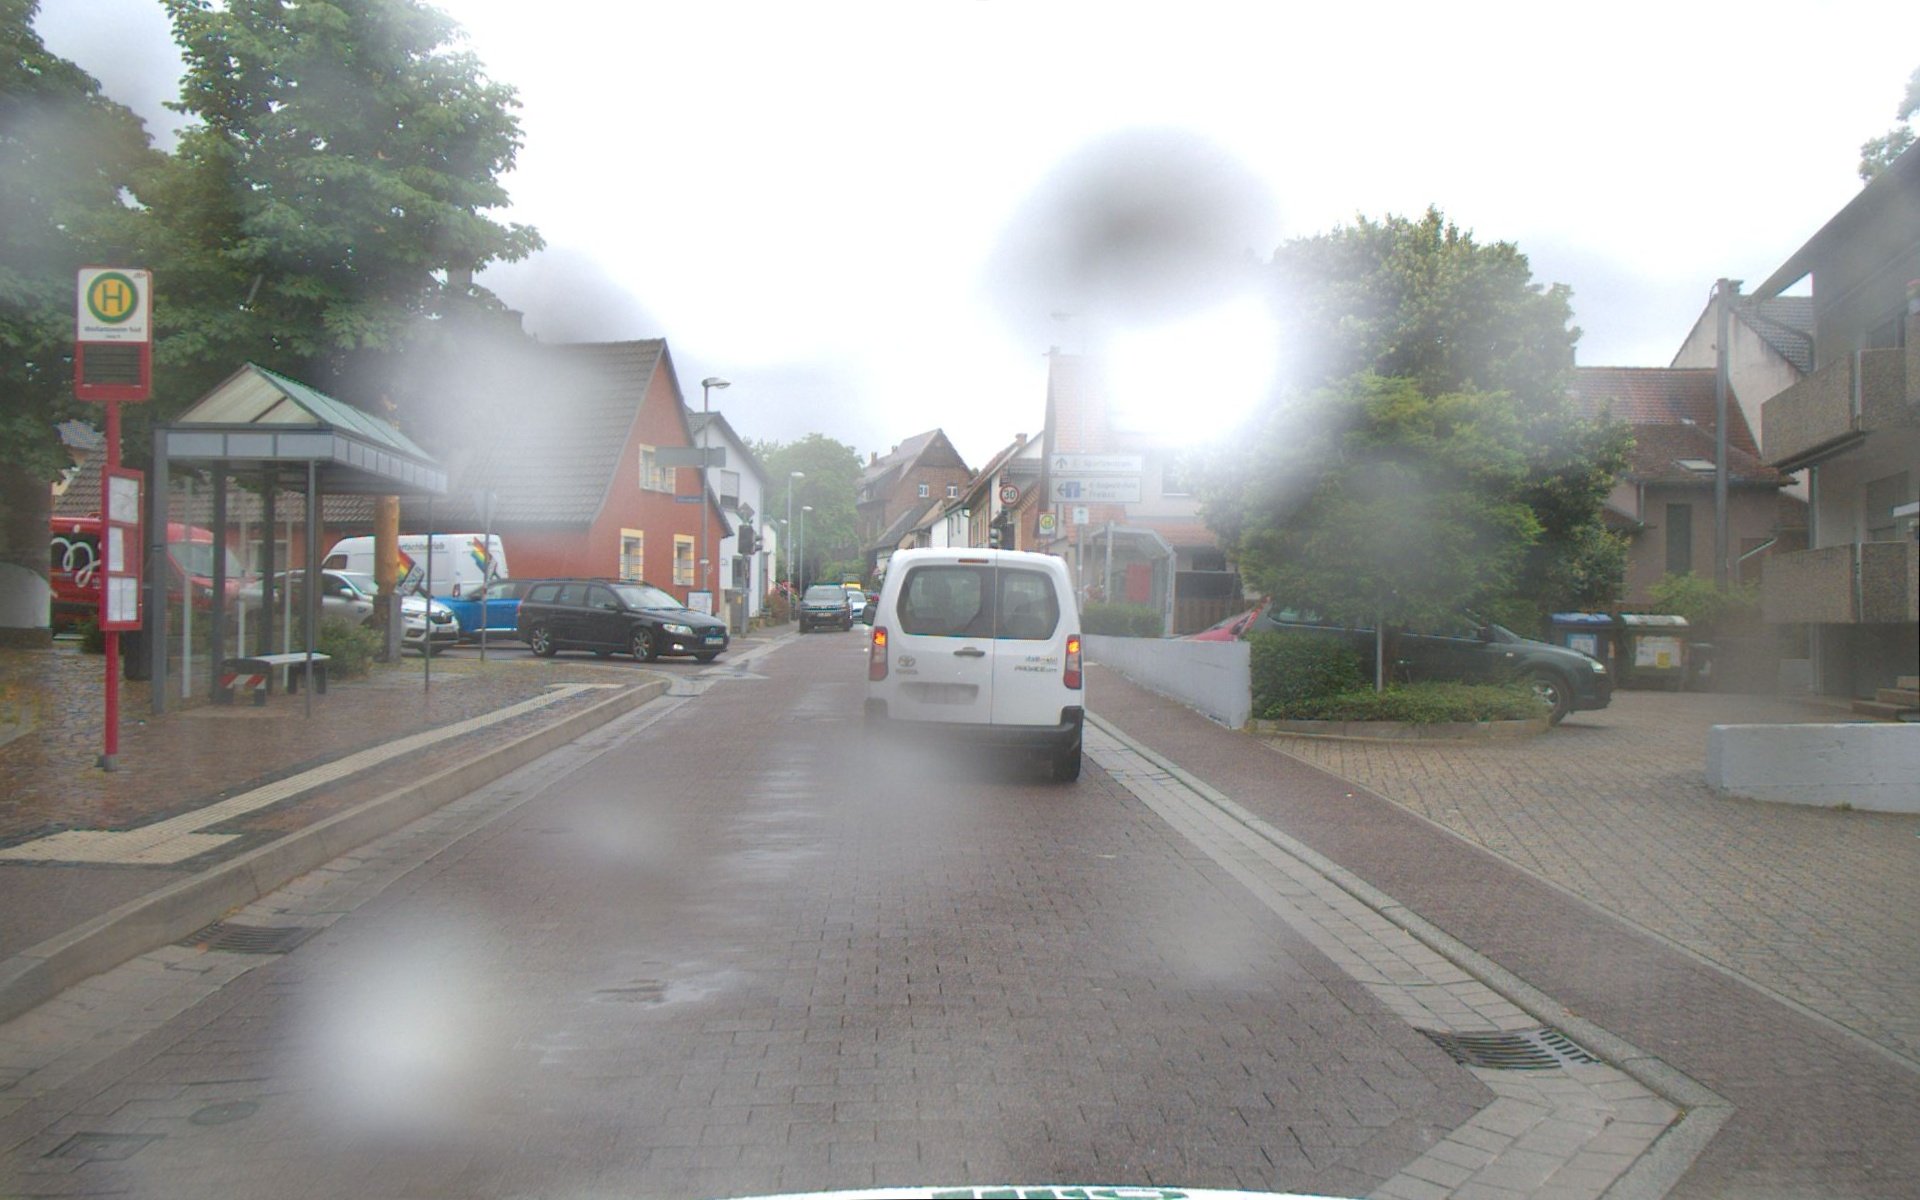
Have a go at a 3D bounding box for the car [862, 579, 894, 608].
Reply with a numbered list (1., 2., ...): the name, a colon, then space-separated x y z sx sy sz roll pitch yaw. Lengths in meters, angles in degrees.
1. car: -5.552 -0.445 112.025 1.955 1.777 3.997 2 2 -5

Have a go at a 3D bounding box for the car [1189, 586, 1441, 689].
1. car: 5.923 0.598 27.787 3.981 1.617 1.859 1 0 11

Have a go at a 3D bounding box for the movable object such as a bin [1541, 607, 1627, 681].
1. movable object such as a bin: 12.240 0.857 32.497 1.217 1.381 1.155 1 0 -1

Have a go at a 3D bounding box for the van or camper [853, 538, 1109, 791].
1. van or camper: 0.041 0.478 14.545 1.905 1.883 3.997 1 0 -4

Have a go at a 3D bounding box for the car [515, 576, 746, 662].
1. car: -6.282 0.328 31.446 4.223 1.503 1.845 0 1 33

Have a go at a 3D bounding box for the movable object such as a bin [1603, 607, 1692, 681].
1. movable object such as a bin: 13.495 0.858 32.508 1.217 1.381 1.155 1 0 -1

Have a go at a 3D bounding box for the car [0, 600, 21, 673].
1. car: -22.625 0.783 35.973 3.720 1.577 1.801 0 -1 18

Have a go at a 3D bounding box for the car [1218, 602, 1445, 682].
1. car: 6.740 0.745 30.306 3.868 1.402 1.753 0 0 5

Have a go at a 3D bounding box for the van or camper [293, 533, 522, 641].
1. van or camper: -13.275 -0.323 39.746 5.038 2.478 2.211 0 1 23

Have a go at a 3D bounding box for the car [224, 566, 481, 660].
1. car: -11.604 0.230 31.656 4.353 1.577 1.883 2 1 18

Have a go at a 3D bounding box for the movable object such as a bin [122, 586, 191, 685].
1. movable object such as a bin: -9.635 0.423 19.839 0.551 1.166 0.604 0 -2 -5

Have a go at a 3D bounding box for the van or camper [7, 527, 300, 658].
1. van or camper: -16.558 -0.201 33.943 5.740 2.516 2.155 1 1 23

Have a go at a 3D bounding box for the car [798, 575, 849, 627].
1. car: -4.921 0.000 59.995 1.776 1.810 4.014 0 1 -4

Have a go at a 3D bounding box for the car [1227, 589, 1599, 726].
1. car: 5.361 0.643 19.912 4.138 1.506 1.696 0 0 13
